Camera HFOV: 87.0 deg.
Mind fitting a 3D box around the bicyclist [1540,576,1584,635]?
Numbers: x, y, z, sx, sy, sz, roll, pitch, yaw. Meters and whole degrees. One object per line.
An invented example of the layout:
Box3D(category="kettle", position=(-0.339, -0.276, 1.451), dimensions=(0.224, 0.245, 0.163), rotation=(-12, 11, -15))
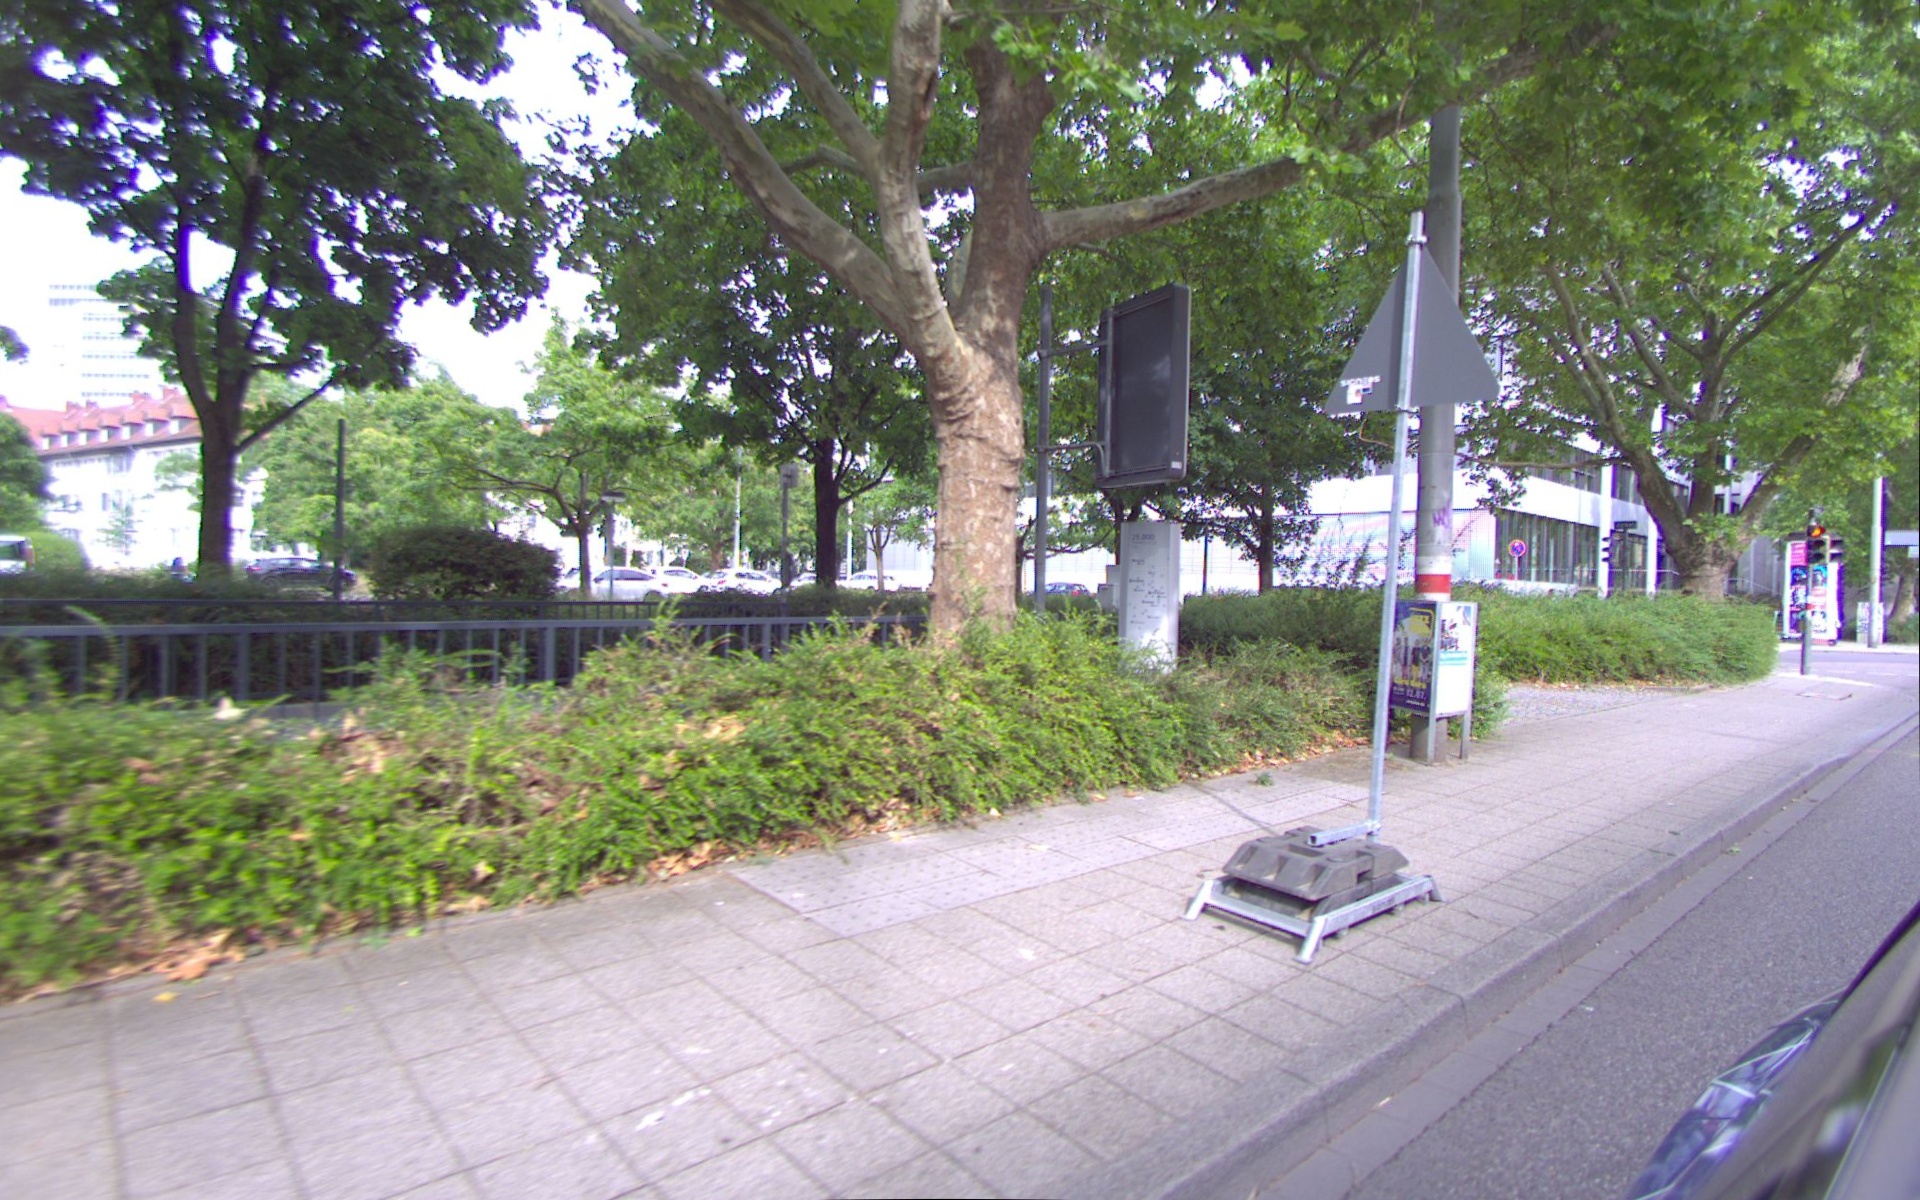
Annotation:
Box3D(category="bicyclist", position=(17.741, 0.154, 29.818), dimensions=(0.899, 1.699, 0.831), rotation=(0, 1, -37))

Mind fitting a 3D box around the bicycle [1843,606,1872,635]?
Box3D(category="bicycle", position=(37.582, 0.857, 42.383), dimensions=(1.695, 1.184, 0.699), rotation=(1, -1, -42))

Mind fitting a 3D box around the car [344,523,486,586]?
Box3D(category="car", position=(-25.567, -2.066, 47.585), dimensions=(5.406, 2.647, 2.436), rotation=(1, -1, -44))

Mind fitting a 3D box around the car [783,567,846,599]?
Box3D(category="car", position=(-9.693, -1.111, 67.209), dimensions=(3.981, 2.039, 1.971), rotation=(0, -1, 40))

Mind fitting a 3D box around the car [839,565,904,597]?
Box3D(category="car", position=(-5.605, -1.174, 63.835), dimensions=(3.861, 1.885, 1.925), rotation=(0, -1, 40))

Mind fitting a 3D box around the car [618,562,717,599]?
Box3D(category="car", position=(-15.550, -0.986, 53.885), dimensions=(4.694, 1.817, 1.995), rotation=(1, -1, -44))

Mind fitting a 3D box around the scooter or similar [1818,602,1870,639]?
Box3D(category="scooter or similar", position=(31.560, 0.719, 36.152), dimensions=(0.338, 1.224, 1.310), rotation=(1, 3, -36))

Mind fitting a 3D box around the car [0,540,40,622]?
Box3D(category="car", position=(-23.076, -0.440, 21.823), dimensions=(4.695, 1.817, 1.994), rotation=(1, -1, -45))

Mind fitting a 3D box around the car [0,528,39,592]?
Box3D(category="car", position=(-32.532, -1.306, 32.138), dimensions=(1.993, 2.039, 4.698), rotation=(0, -1, 43))

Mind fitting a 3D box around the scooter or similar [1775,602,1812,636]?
Box3D(category="scooter or similar", position=(30.603, 0.674, 37.181), dimensions=(0.465, 1.151, 1.305), rotation=(3, 2, 14))

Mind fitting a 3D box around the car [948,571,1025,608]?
Box3D(category="car", position=(1.489, -0.569, 57.253), dimensions=(3.981, 2.039, 1.971), rotation=(0, -1, 40))

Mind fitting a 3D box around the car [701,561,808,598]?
Box3D(category="car", position=(-9.851, -0.934, 48.764), dimensions=(4.689, 1.651, 1.997), rotation=(1, -1, -41))

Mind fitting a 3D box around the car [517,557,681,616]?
Box3D(category="car", position=(-11.818, -0.380, 33.325), dimensions=(4.695, 1.817, 1.994), rotation=(1, -1, -45))
